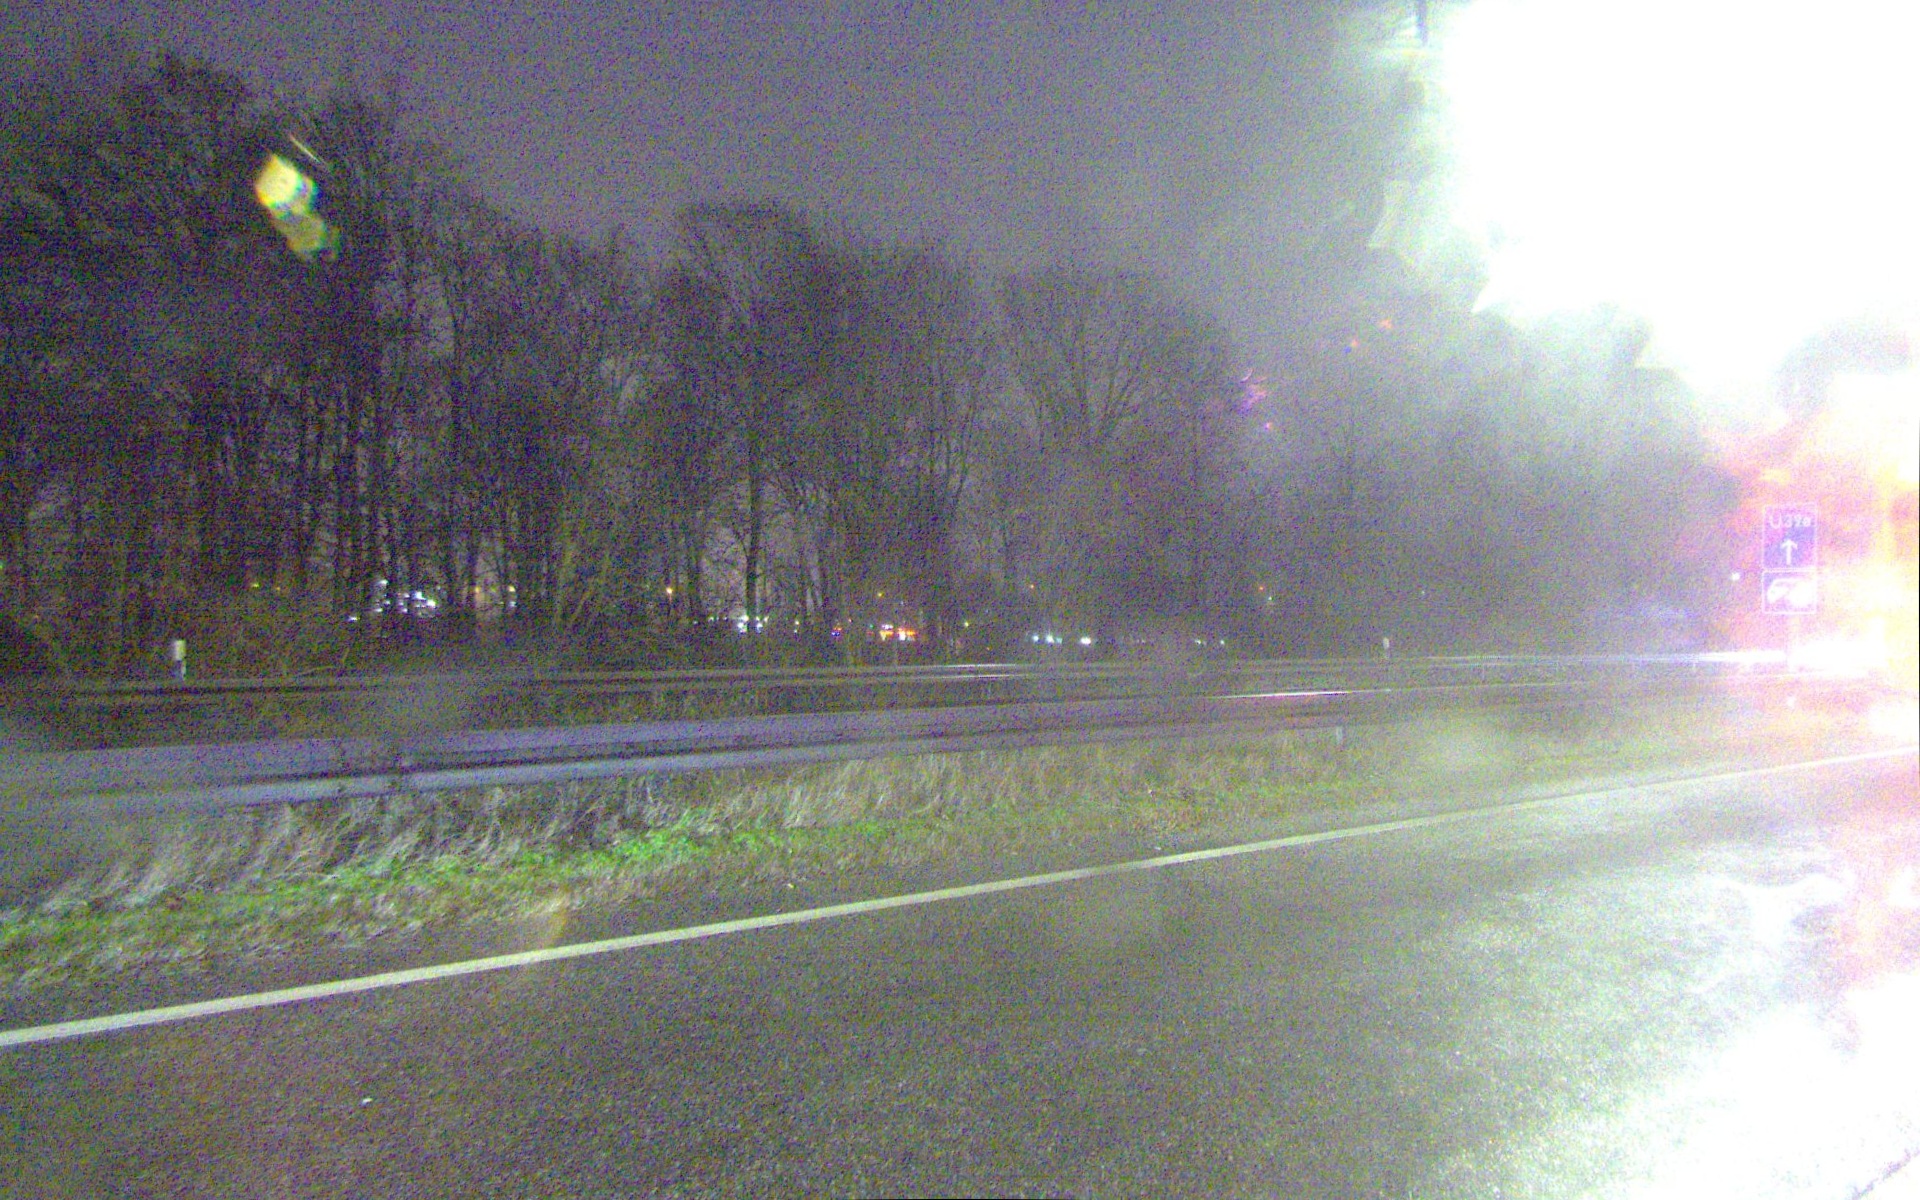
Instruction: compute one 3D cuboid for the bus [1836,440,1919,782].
[{"bbox_3d":[12.663,0.171,10.630,8.591,3.064,2.800,1,0,-32],"label":"bus"}]
